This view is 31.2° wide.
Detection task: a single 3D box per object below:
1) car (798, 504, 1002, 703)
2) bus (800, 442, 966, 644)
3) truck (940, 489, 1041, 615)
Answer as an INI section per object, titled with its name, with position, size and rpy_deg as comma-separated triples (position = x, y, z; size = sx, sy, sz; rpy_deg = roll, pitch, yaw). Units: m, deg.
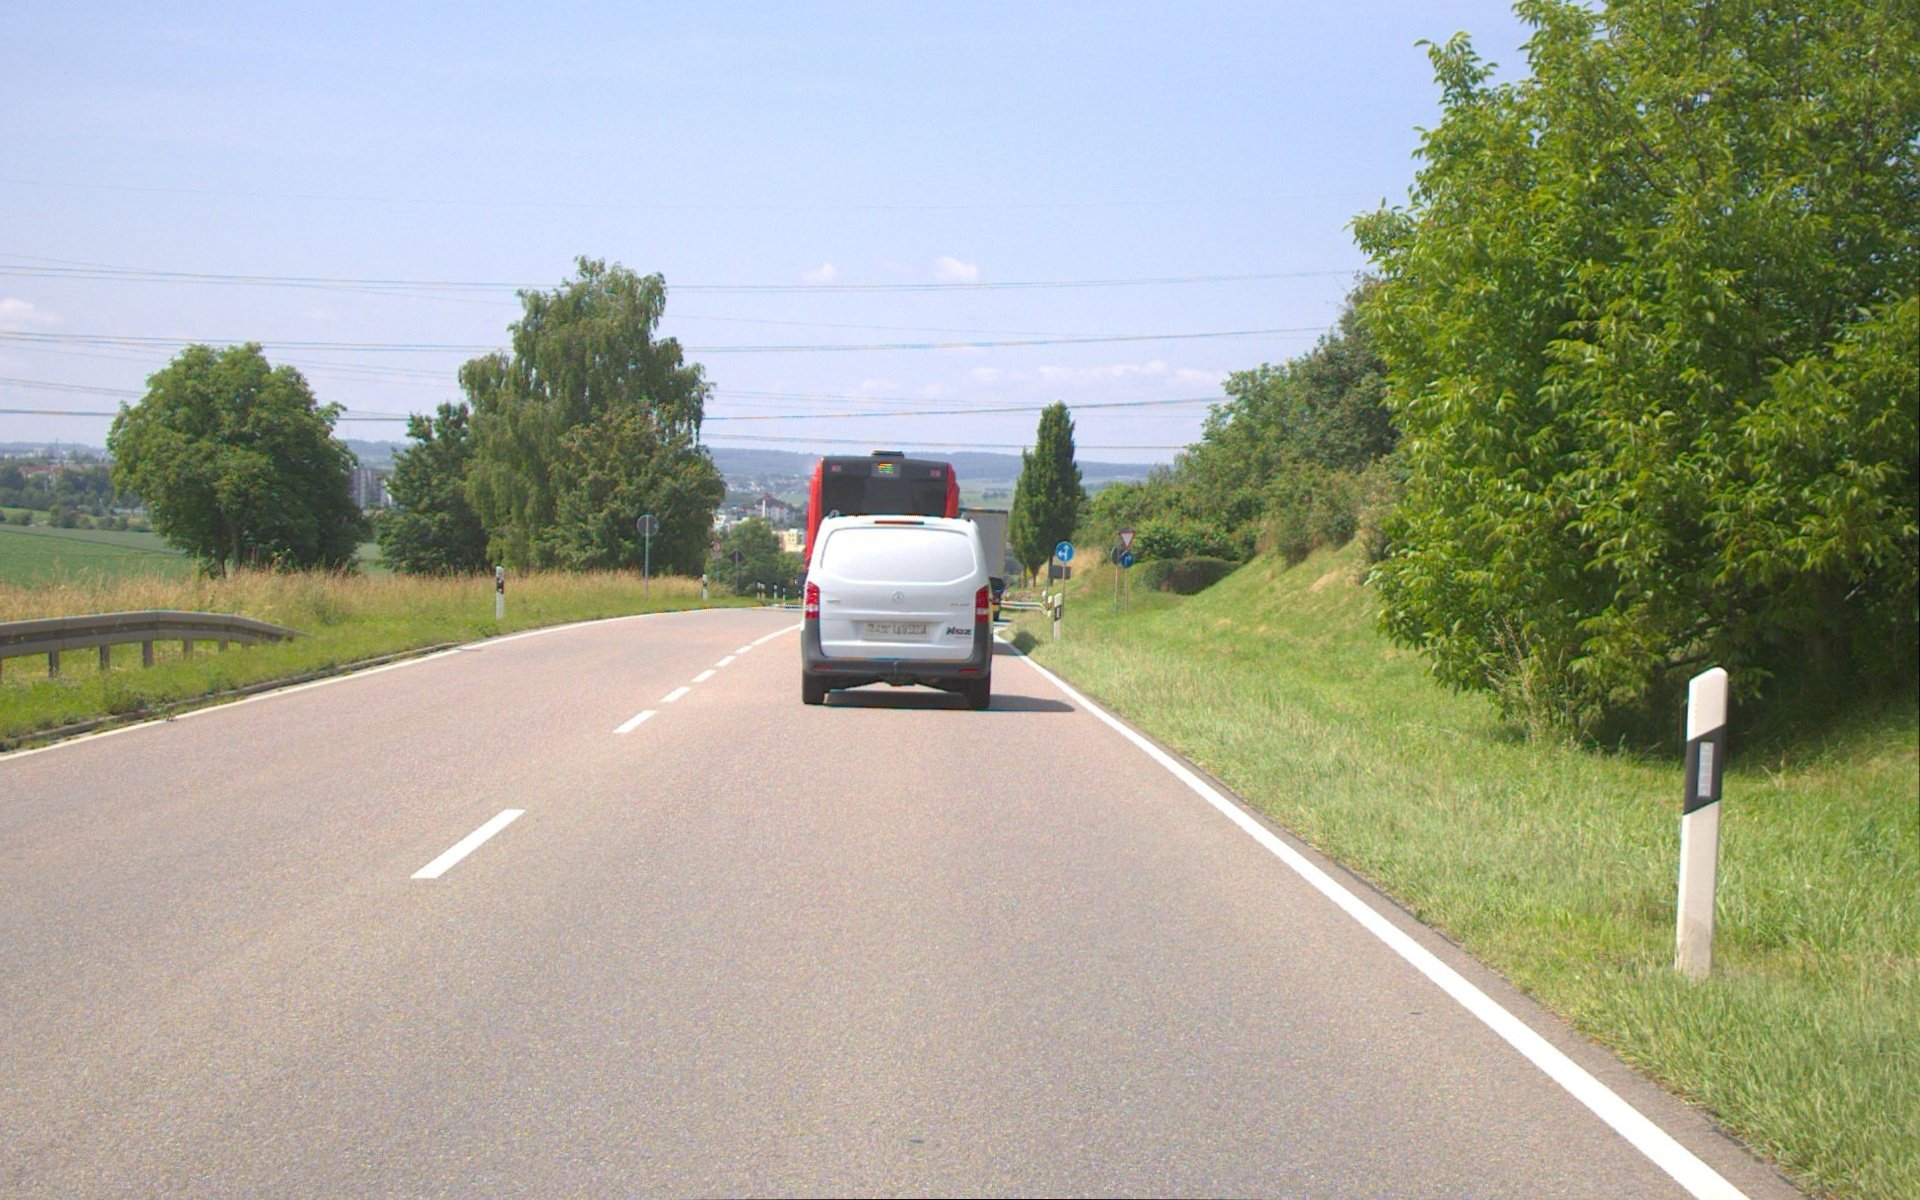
[car]
position = -0.584, 0.012, 35.057
size = 1.923, 1.883, 4.000
rpy_deg = 1, 1, 0
[bus]
position = -1.480, -1.168, 63.502
size = 2.747, 3.342, 13.224
rpy_deg = 0, 2, -2
[truck]
position = 1.057, -1.787, 129.966
size = 3.488, 4.408, 14.903
rpy_deg = 1, 0, 0
